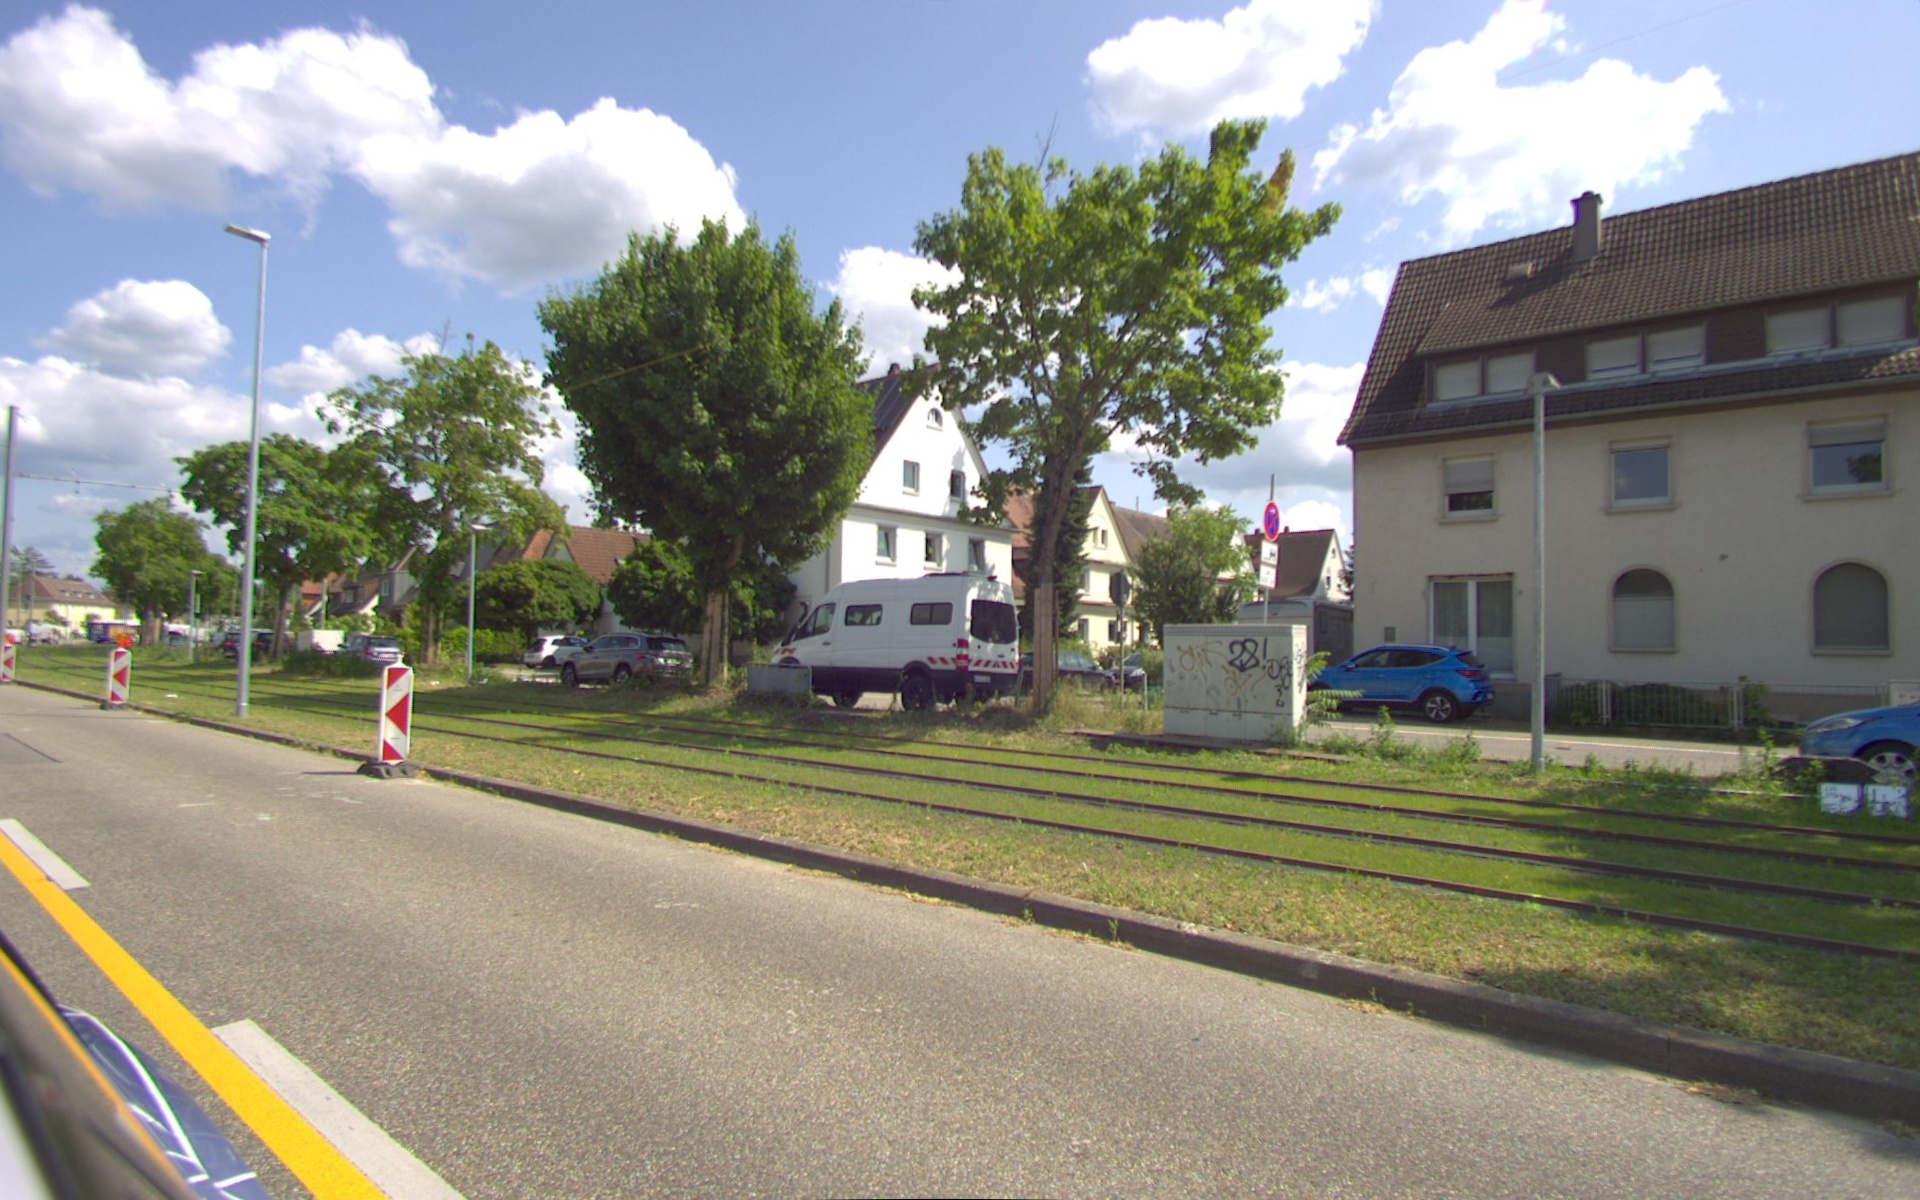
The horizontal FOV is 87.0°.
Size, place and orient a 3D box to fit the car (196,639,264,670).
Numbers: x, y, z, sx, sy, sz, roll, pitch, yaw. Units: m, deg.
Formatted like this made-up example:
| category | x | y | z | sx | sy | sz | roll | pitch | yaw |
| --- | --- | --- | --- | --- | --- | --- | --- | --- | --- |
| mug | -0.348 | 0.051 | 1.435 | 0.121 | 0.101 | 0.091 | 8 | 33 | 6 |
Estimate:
| category | x | y | z | sx | sy | sz | roll | pitch | yaw |
| --- | --- | --- | --- | --- | --- | --- | --- | --- | --- |
| car | -38.994 | 2.895 | 54.011 | 4.320 | 1.551 | 1.972 | -1 | -4 | 41 |

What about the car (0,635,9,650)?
| category | x | y | z | sx | sy | sz | roll | pitch | yaw |
| --- | --- | --- | --- | --- | --- | --- | --- | --- | --- |
| car | -105.135 | 4.607 | 110.344 | 1.490 | 1.510 | 3.583 | 4 | -4 | -35 |

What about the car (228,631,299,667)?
| category | x | y | z | sx | sy | sz | roll | pitch | yaw |
| --- | --- | --- | --- | --- | --- | --- | --- | --- | --- |
| car | -35.040 | 2.504 | 50.866 | 4.099 | 1.590 | 1.885 | -3 | -8 | 42 |

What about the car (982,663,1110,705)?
| category | x | y | z | sx | sy | sz | roll | pitch | yaw |
| --- | --- | --- | --- | --- | --- | --- | --- | --- | --- |
| car | 2.731 | 2.595 | 31.454 | 2.044 | 1.170 | 3.946 | -1 | -4 | 40 |

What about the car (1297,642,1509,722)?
| category | x | y | z | sx | sy | sz | roll | pitch | yaw |
| --- | --- | --- | --- | --- | --- | --- | --- | --- | --- |
| car | 9.874 | 1.783 | 22.688 | 3.998 | 1.589 | 1.883 | -1 | -4 | 41 |

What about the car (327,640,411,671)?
| category | x | y | z | sx | sy | sz | roll | pitch | yaw |
| --- | --- | --- | --- | --- | --- | --- | --- | --- | --- |
| car | -23.561 | 2.207 | 40.323 | 3.835 | 1.101 | 1.762 | -1 | -4 | 42 |

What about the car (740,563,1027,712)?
| category | x | y | z | sx | sy | sz | roll | pitch | yaw |
| --- | --- | --- | --- | --- | --- | --- | --- | --- | --- |
| car | -1.787 | 0.822 | 21.495 | 6.455 | 2.751 | 1.974 | -2 | -5 | 39 |

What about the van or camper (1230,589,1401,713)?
| category | x | y | z | sx | sy | sz | roll | pitch | yaw |
| --- | --- | --- | --- | --- | --- | --- | --- | --- | --- |
| van or camper | 10.675 | 1.547 | 30.000 | 2.632 | 3.246 | 6.659 | -2 | -4 | 40 |

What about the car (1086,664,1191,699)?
| category | x | y | z | sx | sy | sz | roll | pitch | yaw |
| --- | --- | --- | --- | --- | --- | --- | --- | --- | --- |
| car | 6.467 | 2.931 | 36.456 | 1.999 | 1.143 | 3.946 | -1 | -4 | 40 |

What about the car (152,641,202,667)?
| category | x | y | z | sx | sy | sz | roll | pitch | yaw |
| --- | --- | --- | --- | --- | --- | --- | --- | --- | --- |
| car | -52.216 | 3.591 | 67.477 | 4.323 | 1.551 | 1.971 | -1 | -4 | 44 |

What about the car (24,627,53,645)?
| category | x | y | z | sx | sy | sz | roll | pitch | yaw |
| --- | --- | --- | --- | --- | --- | --- | --- | --- | --- |
| car | -112.523 | 4.368 | 123.610 | 1.811 | 2.070 | 3.879 | 4 | -4 | -31 |

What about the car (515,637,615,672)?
| category | x | y | z | sx | sy | sz | roll | pitch | yaw |
| --- | --- | --- | --- | --- | --- | --- | --- | --- | --- |
| car | -18.722 | 2.612 | 48.095 | 1.998 | 1.539 | 3.946 | -5 | -6 | 40 |

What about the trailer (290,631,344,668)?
| category | x | y | z | sx | sy | sz | roll | pitch | yaw |
| --- | --- | --- | --- | --- | --- | --- | --- | --- | --- |
| trailer | -27.815 | 2.147 | 43.762 | 2.280 | 1.530 | 1.286 | -1 | -4 | 40 |

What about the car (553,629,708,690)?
| category | x | y | z | sx | sy | sz | roll | pitch | yaw |
| --- | --- | --- | --- | --- | --- | --- | --- | --- | --- |
| car | -9.128 | 1.615 | 27.868 | 4.484 | 1.517 | 1.973 | -1 | -4 | 41 |

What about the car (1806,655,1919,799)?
| category | x | y | z | sx | sy | sz | roll | pitch | yaw |
| --- | --- | --- | --- | --- | --- | --- | --- | --- | --- |
| car | 11.169 | 1.341 | 10.262 | 3.889 | 1.447 | 1.735 | -1 | -4 | 43 |
